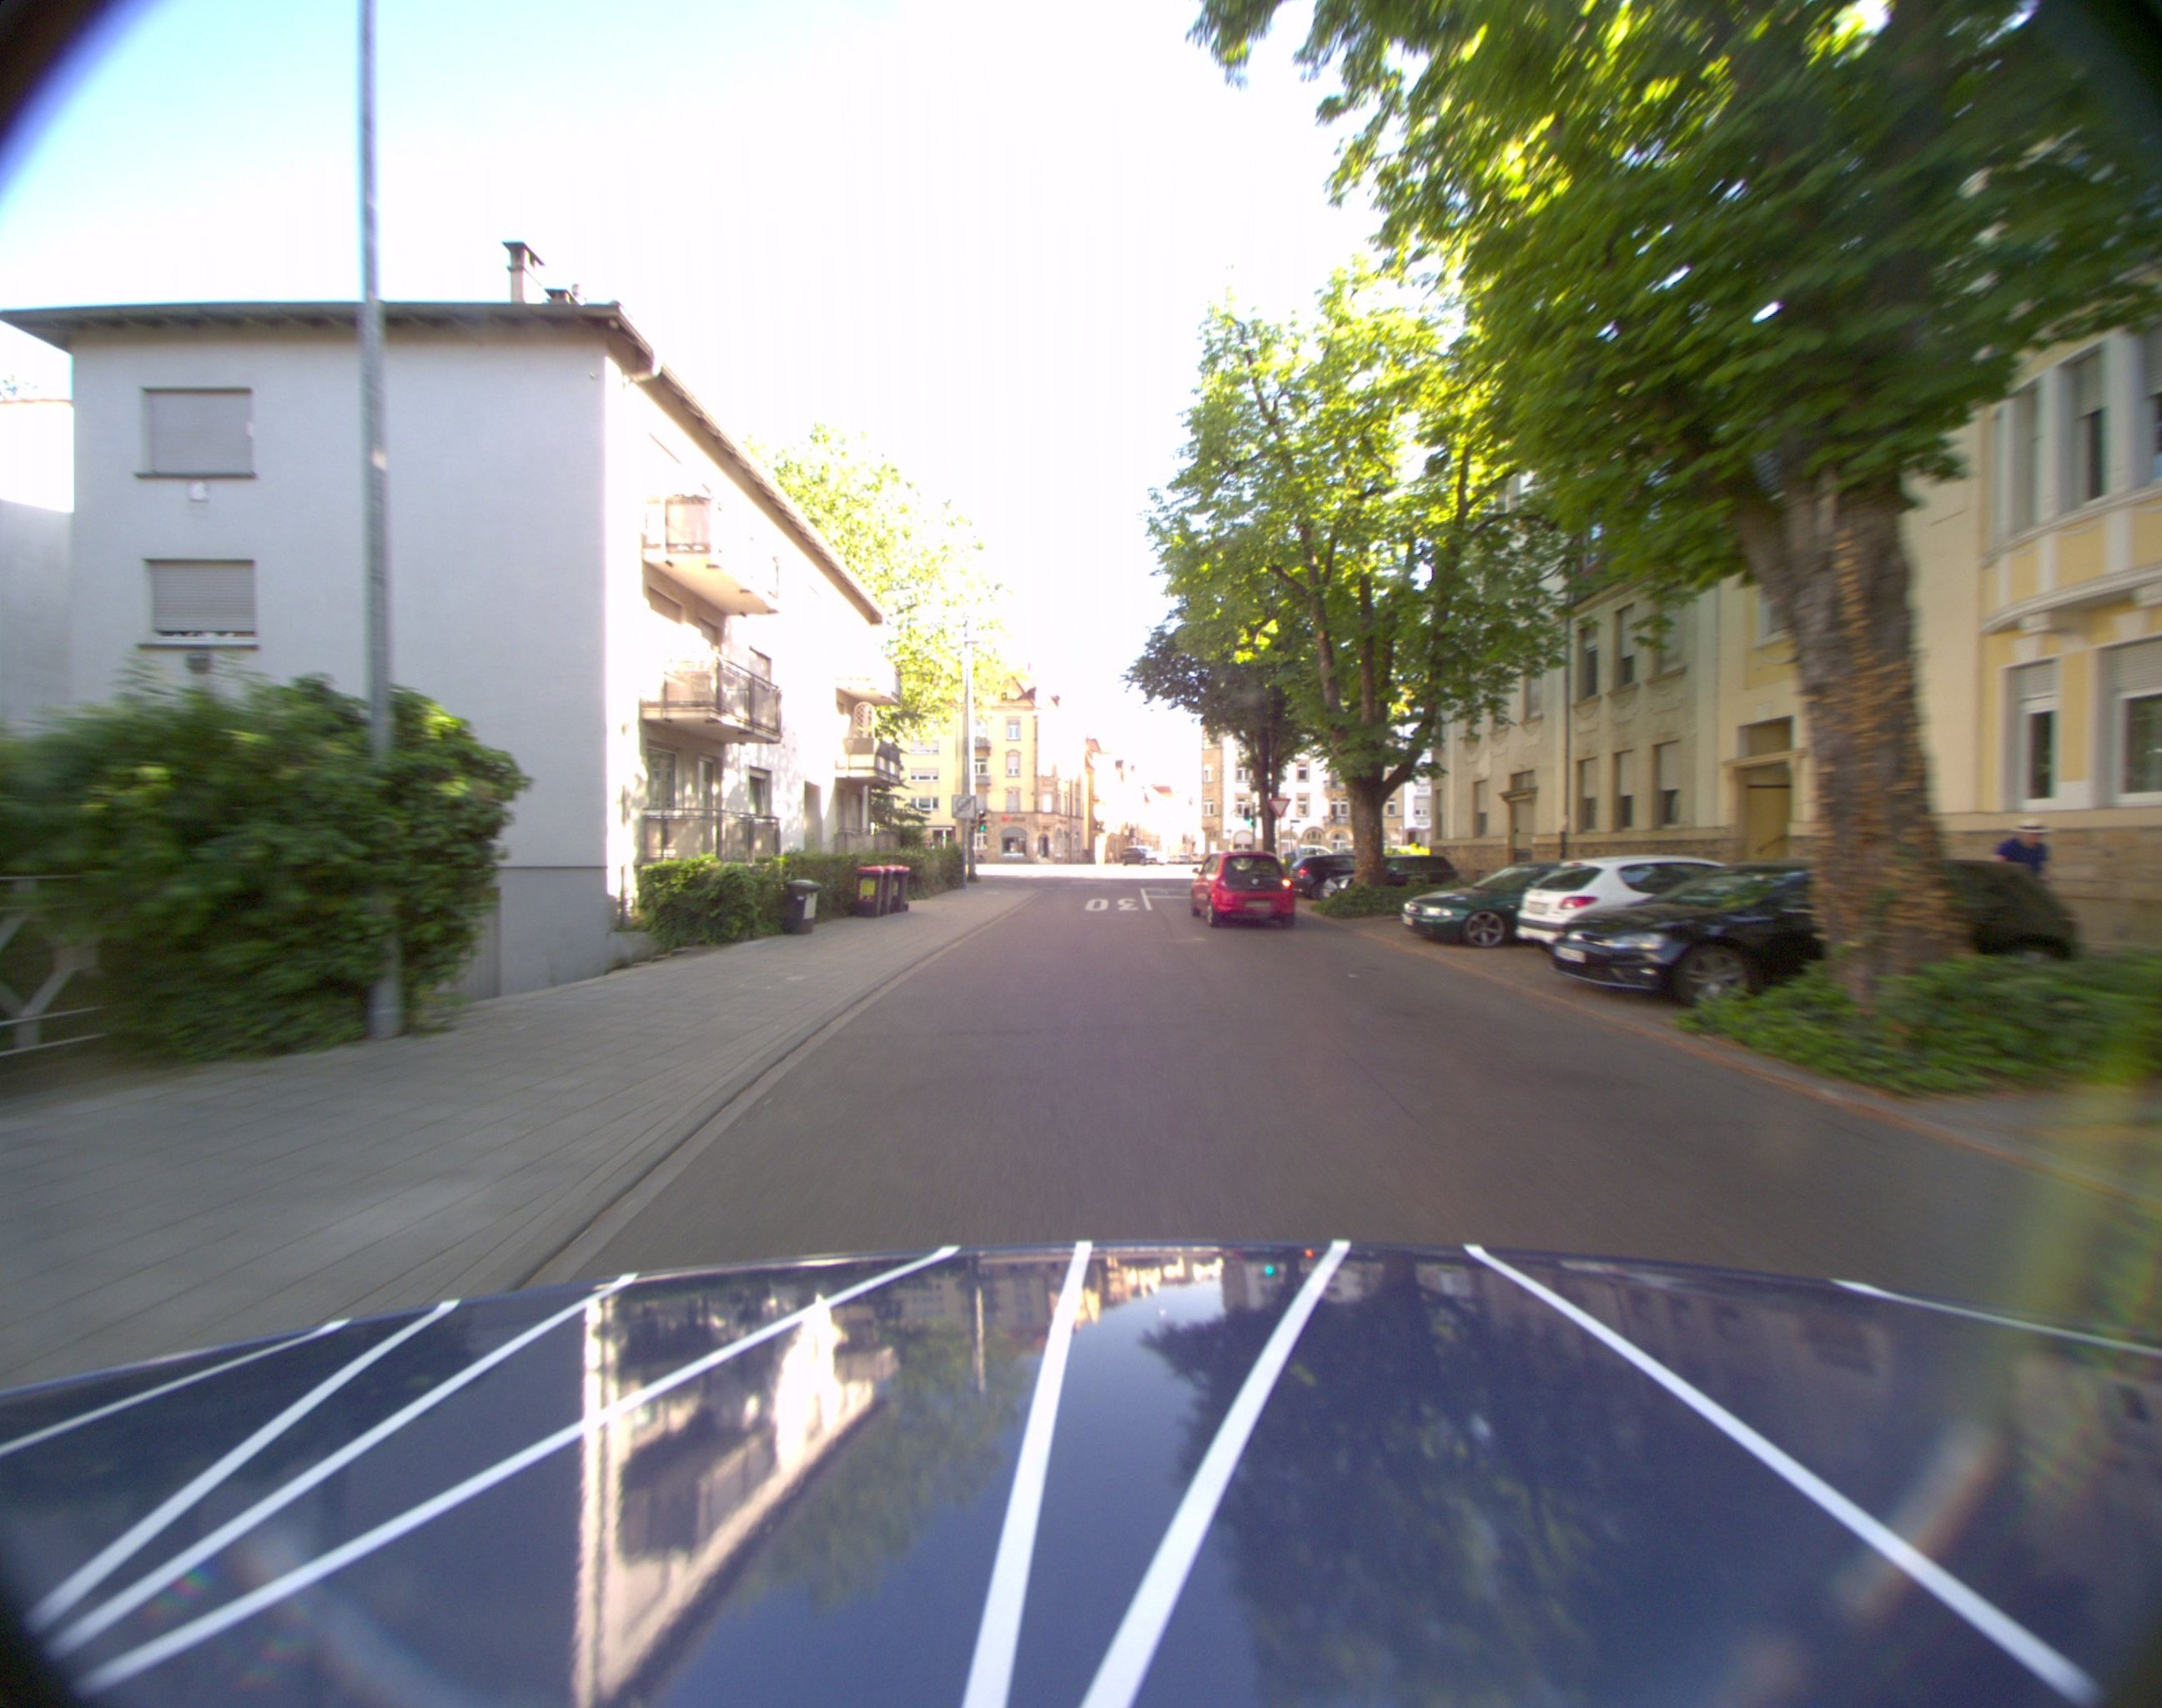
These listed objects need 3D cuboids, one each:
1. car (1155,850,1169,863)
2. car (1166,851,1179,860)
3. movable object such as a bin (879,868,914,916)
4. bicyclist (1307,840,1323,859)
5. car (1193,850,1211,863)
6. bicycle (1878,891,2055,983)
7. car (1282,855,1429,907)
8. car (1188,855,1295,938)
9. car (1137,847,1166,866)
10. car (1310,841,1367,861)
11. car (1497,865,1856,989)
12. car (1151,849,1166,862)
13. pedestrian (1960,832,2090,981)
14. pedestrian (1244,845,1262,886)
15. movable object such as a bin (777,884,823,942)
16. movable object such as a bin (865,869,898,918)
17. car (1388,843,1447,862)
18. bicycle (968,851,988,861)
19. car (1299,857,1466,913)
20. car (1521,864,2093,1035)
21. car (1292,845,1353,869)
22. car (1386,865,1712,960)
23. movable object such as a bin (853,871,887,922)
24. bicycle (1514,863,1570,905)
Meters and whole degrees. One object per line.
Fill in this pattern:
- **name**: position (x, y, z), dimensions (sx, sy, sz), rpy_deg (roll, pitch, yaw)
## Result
- **car**: position (13.564, 0.407, 127.049), dimensions (1.831, 2.022, 3.824), rpy_deg (-2, -1, 15)
- **car**: position (16.788, 0.267, 139.208), dimensions (1.831, 1.586, 3.824), rpy_deg (-2, -1, 13)
- **movable object such as a bin**: position (-4.308, 0.886, 17.782), dimensions (0.598, 1.038, 0.707), rpy_deg (3, 1, 1)
- **bicyclist**: position (18.901, -0.382, 61.429), dimensions (1.073, 1.533, 0.687), rpy_deg (0, 1, 2)
- **car**: position (17.684, 0.350, 110.834), dimensions (1.915, 1.649, 4.351), rpy_deg (-3, 0, 16)
- **bicycle**: position (10.527, 0.943, 9.119), dimensions (0.472, 0.906, 1.598), rpy_deg (0, 1, 10)
- **car**: position (8.321, 0.801, 23.280), dimensions (3.891, 1.467, 1.615), rpy_deg (1, 1, 3)
- **car**: position (3.300, 0.797, 16.224), dimensions (1.645, 1.500, 3.702), rpy_deg (1, 1, 3)
- **car**: position (5.191, 0.183, 56.476), dimensions (1.863, 1.346, 4.216), rpy_deg (0, 0, 1)
- **car**: position (21.792, -0.248, 64.439), dimensions (4.236, 1.635, 2.001), rpy_deg (0, -1, 3)
- **car**: position (7.793, 0.924, 10.257), dimensions (3.440, 1.444, 1.703), rpy_deg (-1, 2, 5)
- **car**: position (9.232, 0.145, 90.452), dimensions (1.664, 1.455, 3.809), rpy_deg (0, 1, 4)
- **pedestrian**: position (10.967, 0.576, 8.858), dimensions (0.460, 1.648, 0.895), rpy_deg (0, 1, 11)
- **pedestrian**: position (7.060, 0.462, 31.235), dimensions (0.694, 1.672, 0.681), rpy_deg (0, 1, 14)
- **movable object such as a bin**: position (-4.822, 1.005, 13.056), dimensions (0.504, 0.910, 0.573), rpy_deg (4, 1, 5)
- **movable object such as a bin**: position (-4.450, 0.869, 16.964), dimensions (0.484, 1.038, 0.657), rpy_deg (3, 1, 1)
- **car**: position (27.249, -0.149, 61.567), dimensions (4.016, 1.521, 1.766), rpy_deg (0, 0, 3)
- **bicycle**: position (-10.533, 0.231, 77.372), dimensions (1.951, 0.970, 0.516), rpy_deg (0, 3, 2)
- **car**: position (8.129, 0.807, 20.676), dimensions (3.893, 1.407, 1.614), rpy_deg (0, 1, -3)
- **car**: position (7.032, 0.891, 7.773), dimensions (3.995, 1.474, 1.786), rpy_deg (-1, 1, 5)
- **car**: position (15.510, 0.180, 48.911), dimensions (3.609, 1.559, 1.654), rpy_deg (0, 1, 13)
- **car**: position (7.413, 0.906, 12.386), dimensions (4.221, 1.341, 1.703), rpy_deg (-1, 2, 3)
- **movable object such as a bin**: position (-4.503, 0.898, 16.214), dimensions (0.484, 1.038, 0.618), rpy_deg (3, 1, 1)
- **bicycle**: position (13.393, 0.847, 22.137), dimensions (0.515, 1.147, 1.983), rpy_deg (-2, 0, 4)
